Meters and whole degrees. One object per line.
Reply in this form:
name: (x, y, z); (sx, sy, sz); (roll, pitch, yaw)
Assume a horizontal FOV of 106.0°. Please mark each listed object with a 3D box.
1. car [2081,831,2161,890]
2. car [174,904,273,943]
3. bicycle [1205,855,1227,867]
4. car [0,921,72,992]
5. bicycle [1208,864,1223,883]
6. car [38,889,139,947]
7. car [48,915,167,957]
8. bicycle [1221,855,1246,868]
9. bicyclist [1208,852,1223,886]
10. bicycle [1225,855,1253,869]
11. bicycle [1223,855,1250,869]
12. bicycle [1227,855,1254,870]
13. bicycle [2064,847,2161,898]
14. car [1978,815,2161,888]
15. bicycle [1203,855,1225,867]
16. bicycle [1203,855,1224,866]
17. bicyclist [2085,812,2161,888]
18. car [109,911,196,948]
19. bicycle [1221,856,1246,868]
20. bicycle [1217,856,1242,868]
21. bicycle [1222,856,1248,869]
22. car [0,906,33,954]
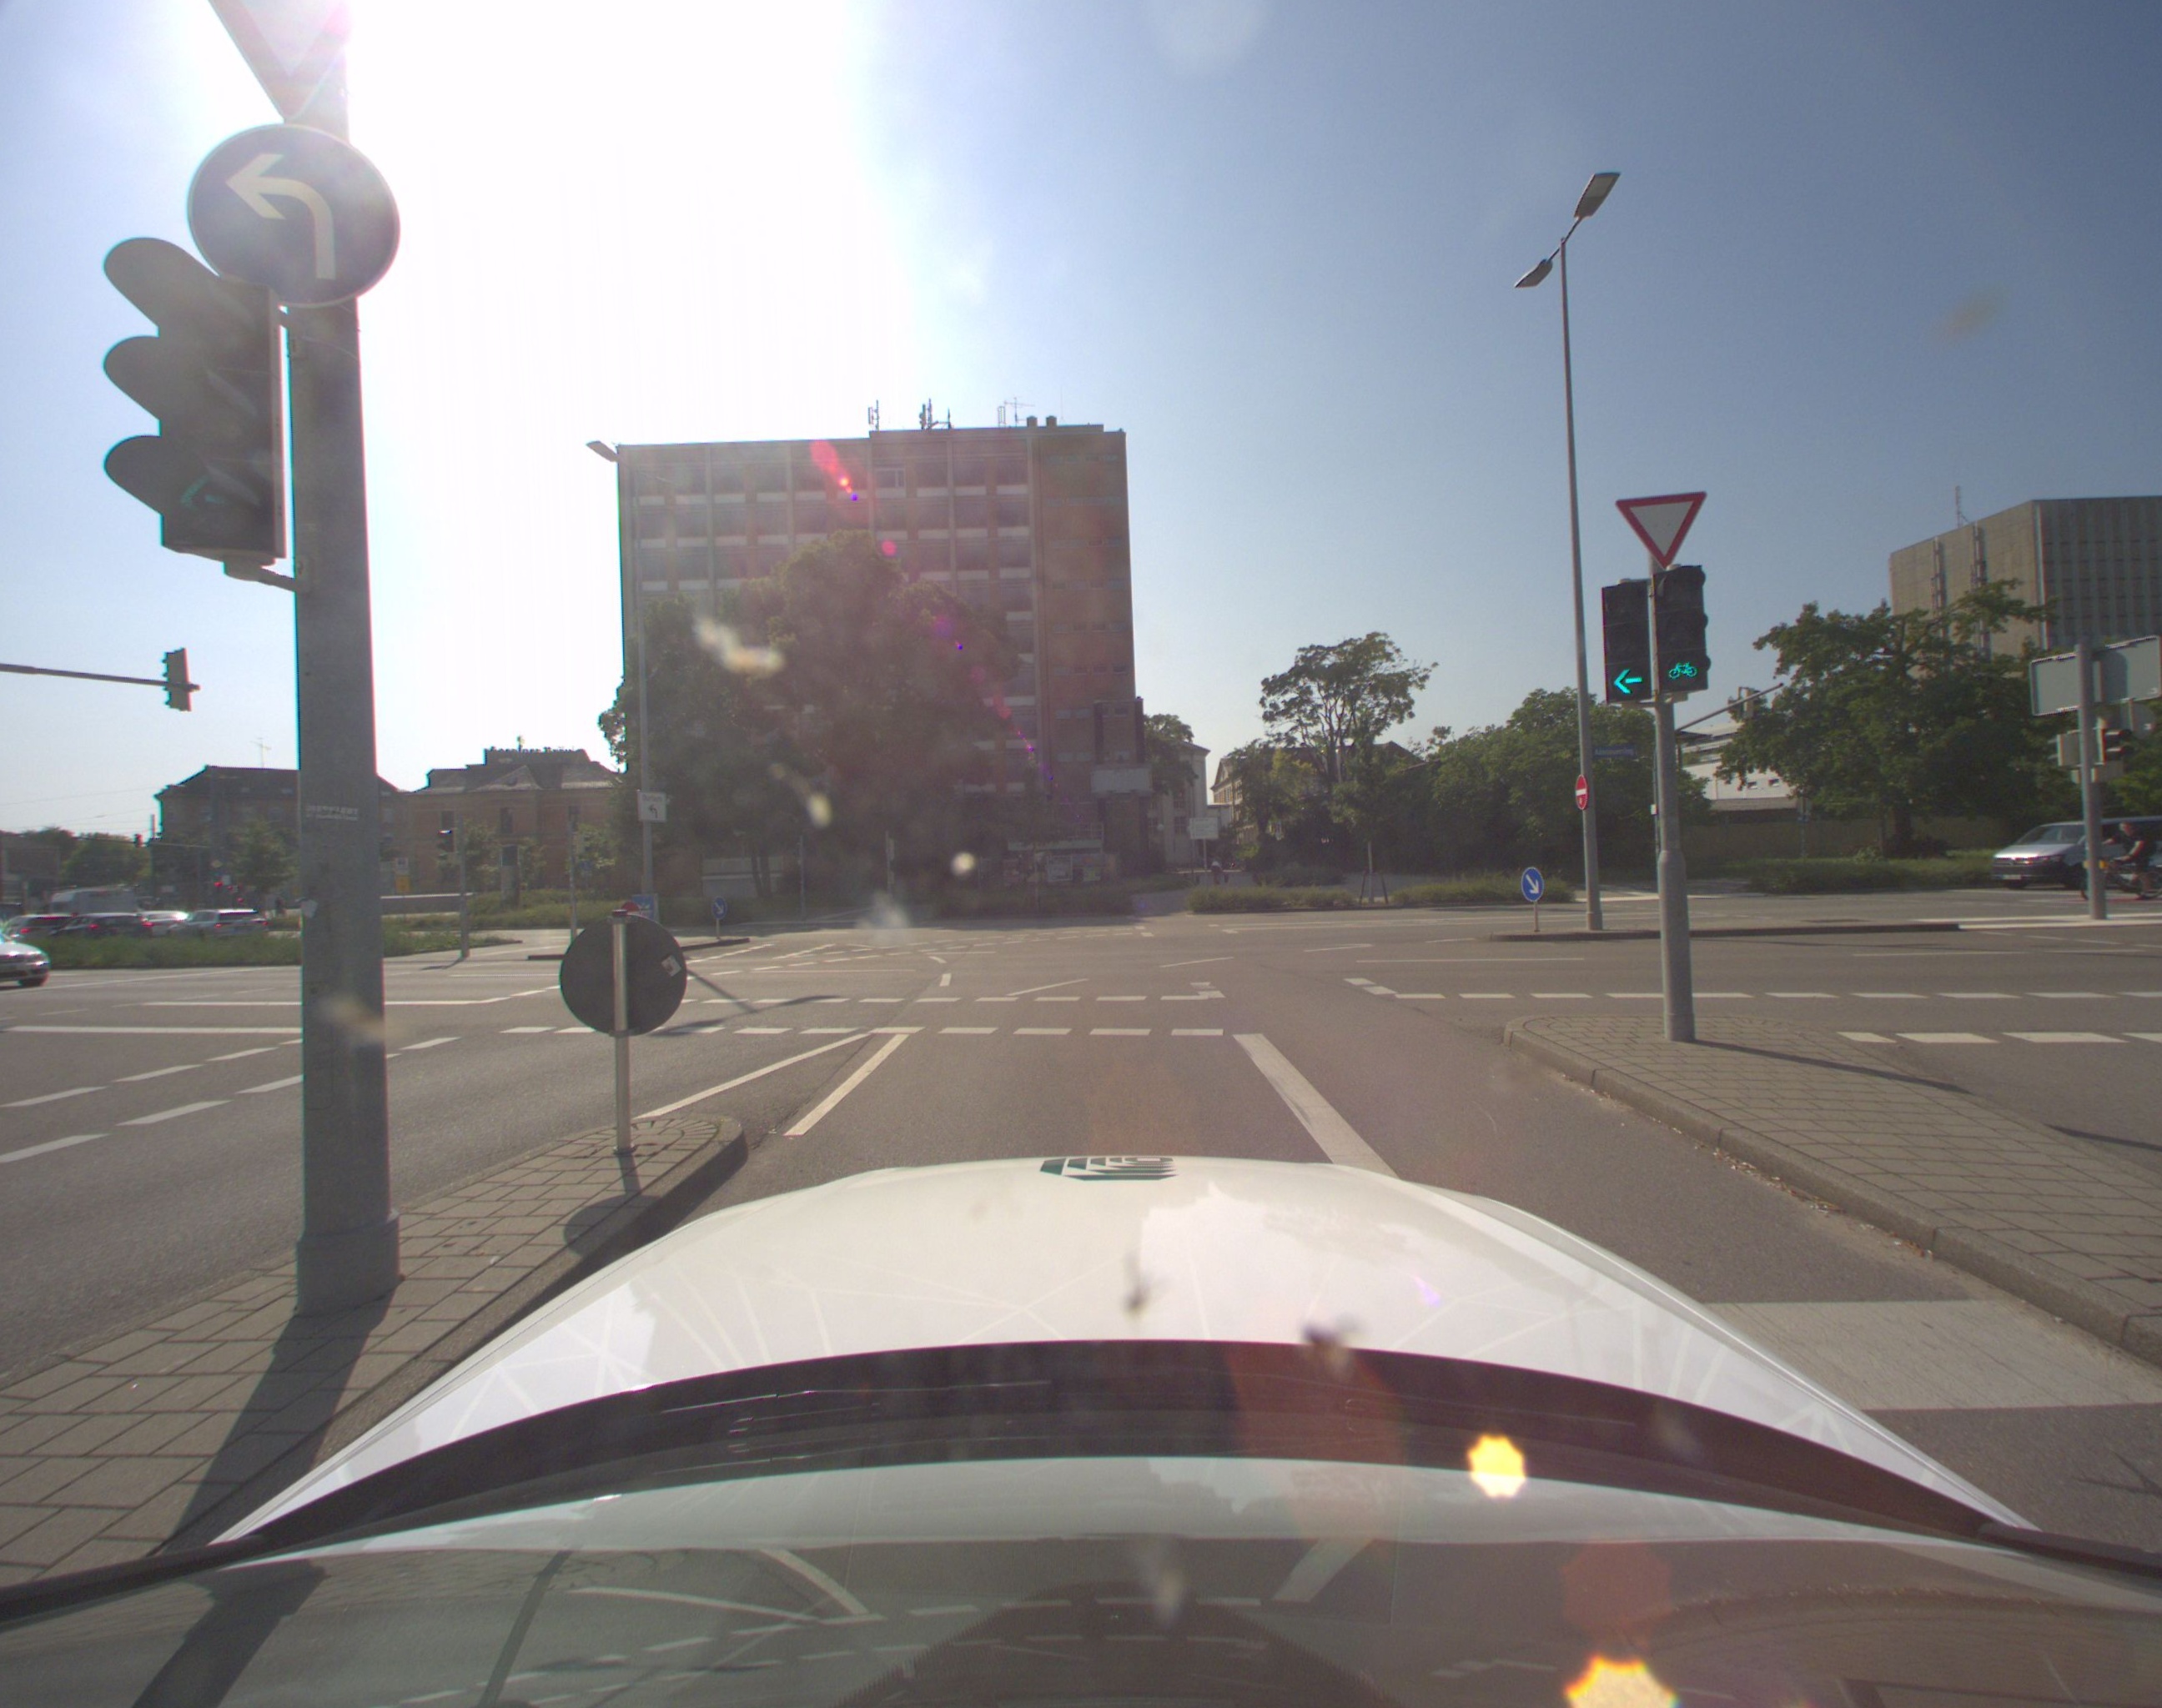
car: (28.494, 0.073, 20.066); (4.877, 1.401, 1.915); (-3, -1, 7)
car: (-34.691, 2.805, 32.933); (3.589, 1.387, 1.700); (-4, -2, 25)
bicycle: (15.094, 0.781, 91.269); (2.415, 1.282, 0.721); (-1, -1, 5)
car: (-24.108, 2.214, 17.160); (4.766, 1.361, 1.856); (-3, -1, 16)
bicycle: (6.461, 0.939, 39.213); (0.669, 0.879, 1.404); (-3, 0, 9)
car: (-48.347, 3.108, 39.663); (4.624, 2.549, 2.209); (-4, -2, 28)
car: (-36.408, 3.063, 30.467); (3.916, 1.368, 1.716); (-3, -2, 22)
bicycle: (15.530, 0.763, 83.125); (2.415, 1.229, 0.721); (-1, -1, 5)
bicyclist: (6.467, 0.732, 39.202); (0.646, 1.601, 0.922); (-3, -1, 9)
bicycle: (14.647, 0.727, 75.500); (2.415, 1.318, 0.721); (-1, -1, 5)
bicycle: (14.903, 0.766, 78.034); (2.415, 1.223, 0.721); (-1, -1, 5)
bicycle: (14.558, 0.744, 74.365); (2.415, 1.318, 0.721); (-1, -1, 5)
bicycle: (23.443, 0.407, 18.239); (1.761, 1.052, 0.771); (-3, 0, 4)
car: (28.948, -0.101, 22.917); (4.930, 1.875, 1.851); (-3, -1, 7)
bicycle: (15.174, 0.789, 92.928); (2.415, 1.262, 0.721); (-1, -1, 5)
bicycle: (15.233, 0.756, 93.756); (2.415, 1.280, 0.721); (-1, -1, 5)
bicyclist: (23.439, -0.096, 18.244); (0.869, 1.635, 0.750); (-2, -1, 4)
car: (-40.497, 3.291, 35.514); (3.893, 1.403, 1.502); (-4, -2, 25)
bicycle: (15.210, 0.788, 81.271); (2.415, 1.234, 0.721); (-1, -1, 5)
bicycle: (14.982, 0.804, 82.112); (2.415, 1.239, 0.721); (-1, -1, 5)
bicycle: (14.999, 0.795, 79.306); (2.415, 1.223, 0.721); (-1, -1, 5)
car: (-48.540, 3.415, 35.930); (4.624, 2.008, 2.042); (-4, -2, 28)
